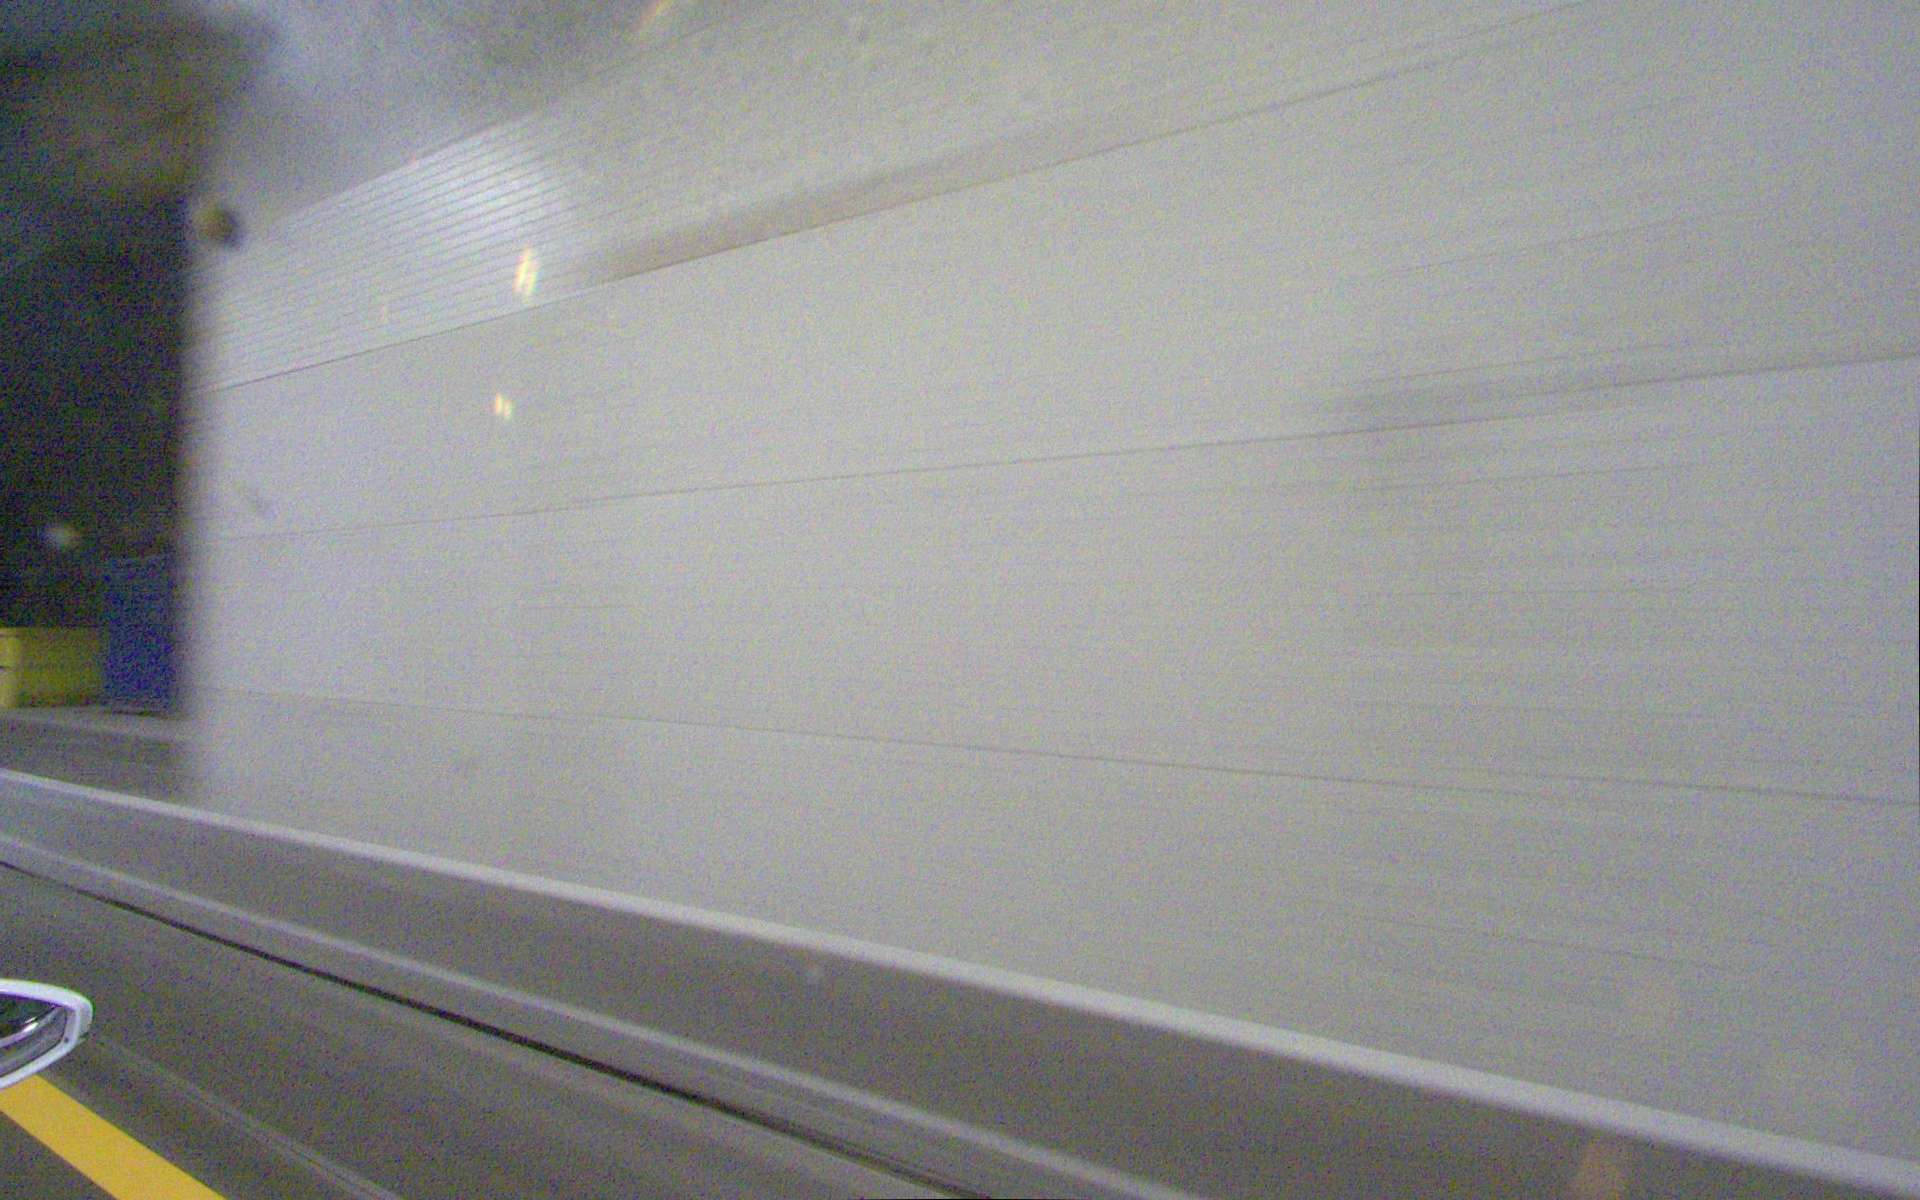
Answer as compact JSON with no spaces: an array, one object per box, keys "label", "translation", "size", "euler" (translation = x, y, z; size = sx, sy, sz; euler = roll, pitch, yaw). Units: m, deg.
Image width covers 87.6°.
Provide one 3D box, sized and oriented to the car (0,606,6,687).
[{"label":"car","translation":[-25.014,1.096,23.941],"size":[5.361,1.882,1.825],"euler":[-1,-1,31]}]
